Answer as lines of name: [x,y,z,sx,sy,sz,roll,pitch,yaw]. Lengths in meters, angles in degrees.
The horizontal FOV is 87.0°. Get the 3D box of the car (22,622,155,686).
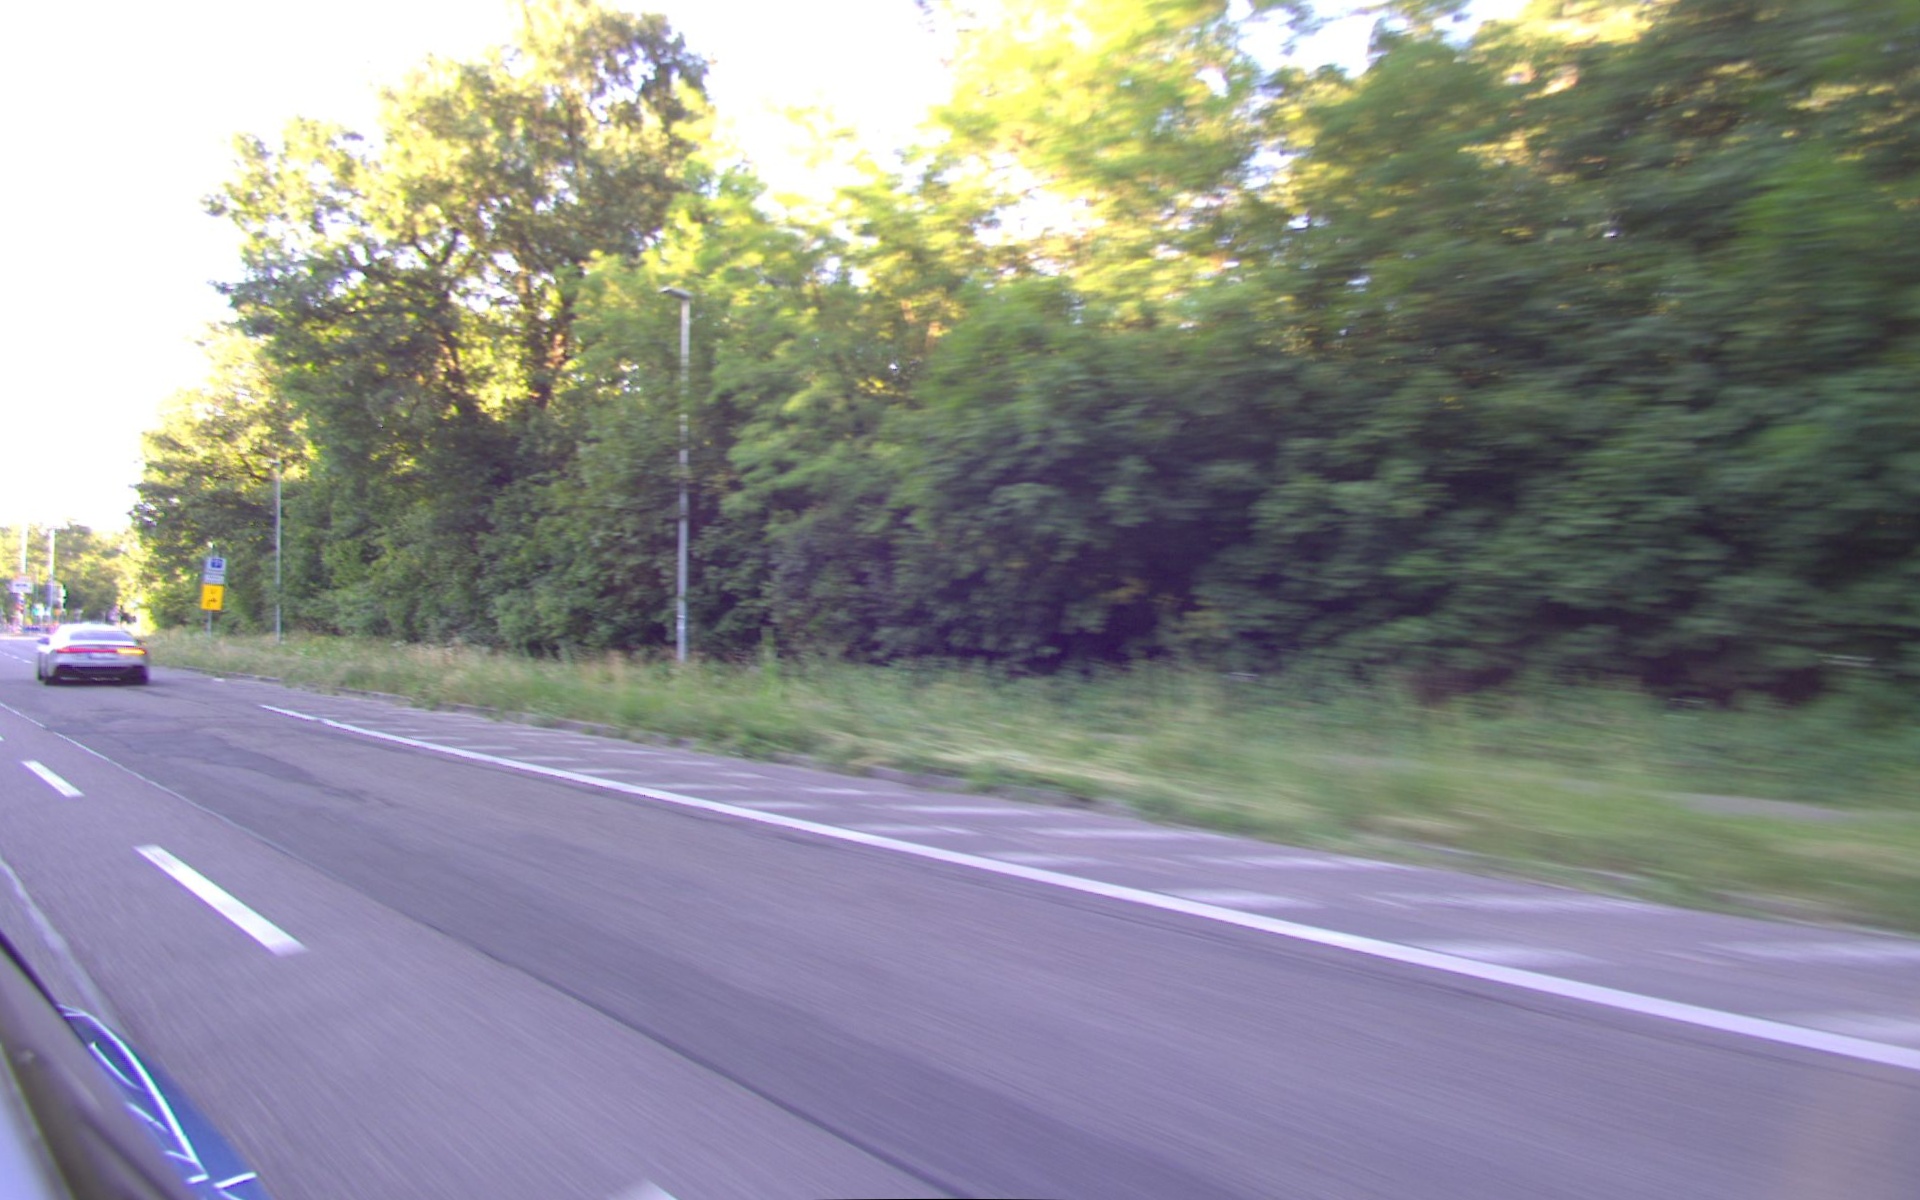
car: [-21.579,1.319,25.000,4.466,1.446,2.040,-2,-4,44]
